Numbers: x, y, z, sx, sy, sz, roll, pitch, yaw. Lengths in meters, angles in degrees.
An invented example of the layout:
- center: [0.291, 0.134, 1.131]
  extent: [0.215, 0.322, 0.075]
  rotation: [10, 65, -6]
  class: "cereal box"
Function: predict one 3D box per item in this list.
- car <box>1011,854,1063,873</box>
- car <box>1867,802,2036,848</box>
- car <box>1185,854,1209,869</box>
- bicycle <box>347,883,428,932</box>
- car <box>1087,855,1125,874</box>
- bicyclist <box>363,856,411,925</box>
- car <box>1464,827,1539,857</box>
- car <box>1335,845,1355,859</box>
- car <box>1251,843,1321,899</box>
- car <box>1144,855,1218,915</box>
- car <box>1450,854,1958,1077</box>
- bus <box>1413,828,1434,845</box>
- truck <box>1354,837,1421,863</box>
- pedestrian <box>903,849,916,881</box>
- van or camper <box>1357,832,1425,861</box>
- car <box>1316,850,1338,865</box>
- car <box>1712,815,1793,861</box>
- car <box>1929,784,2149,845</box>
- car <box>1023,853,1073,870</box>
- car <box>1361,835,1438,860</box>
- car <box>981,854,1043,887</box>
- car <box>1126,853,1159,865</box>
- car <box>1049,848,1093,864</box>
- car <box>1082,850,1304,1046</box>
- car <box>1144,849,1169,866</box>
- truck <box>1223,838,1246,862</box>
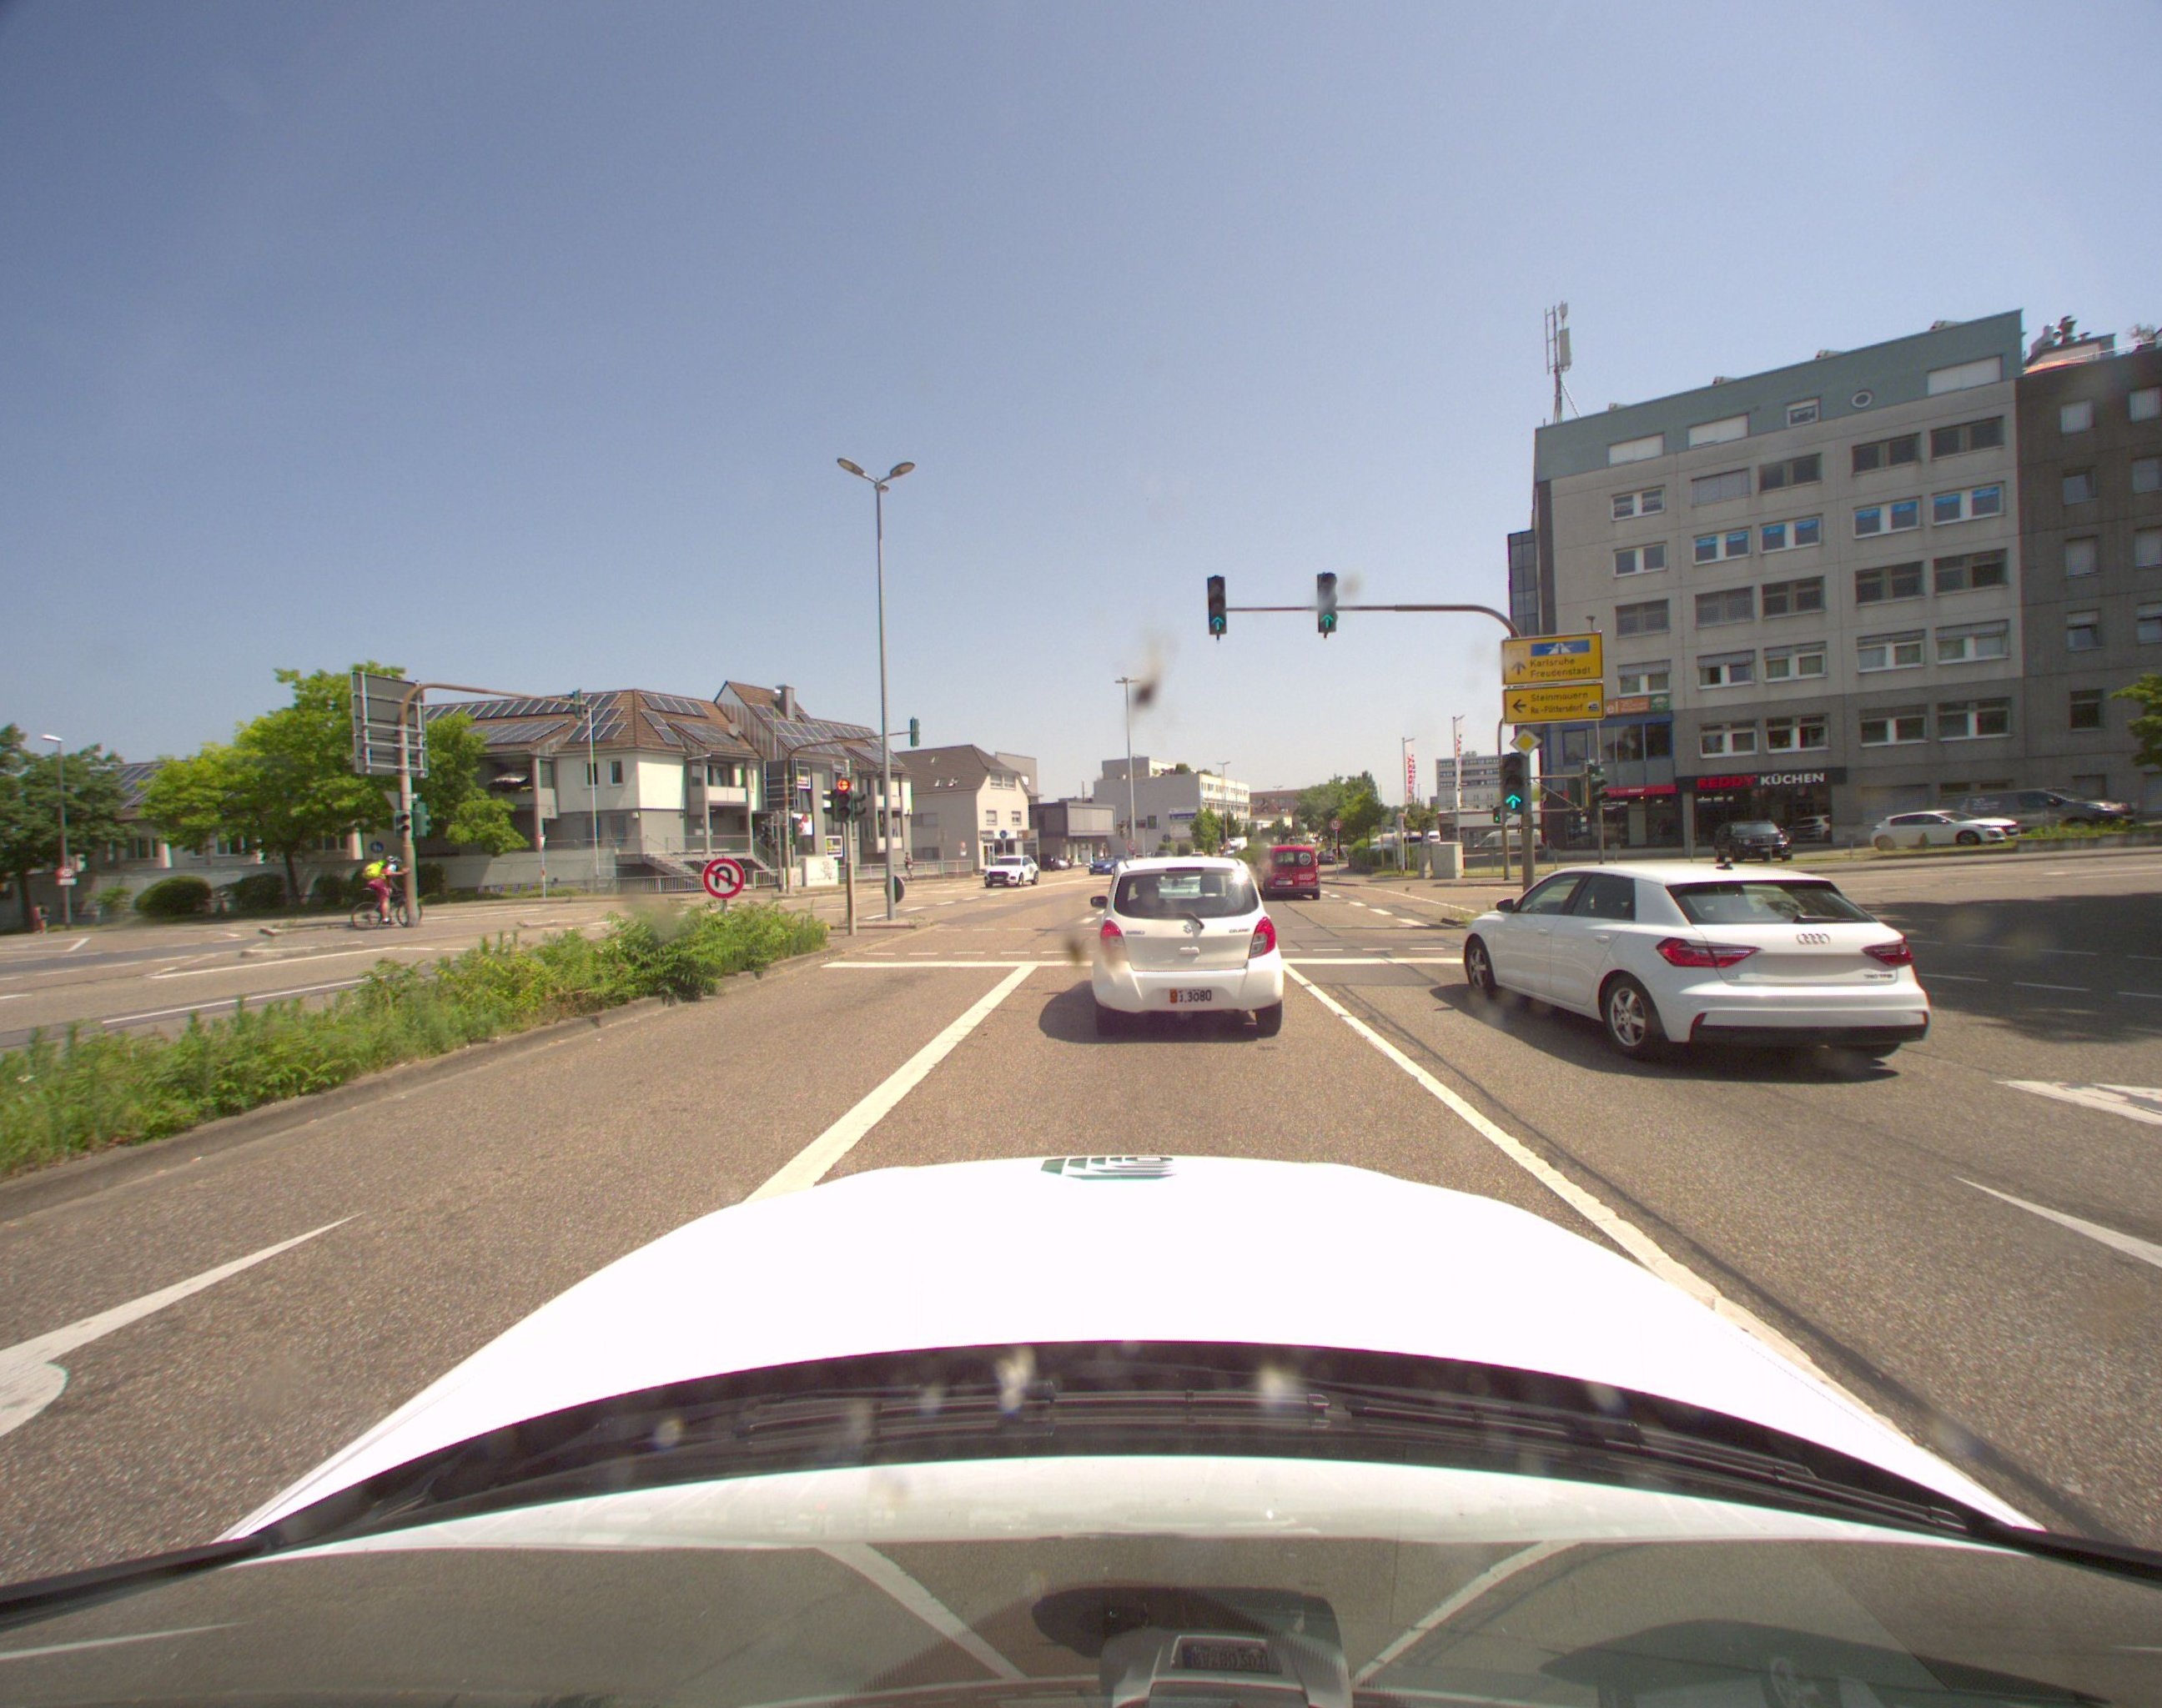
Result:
- center: [-4.190, 0.856, 77.492]
  extent: [4.565, 1.627, 1.864]
  rotation: [2, 1, 23]
  class: "car"
- center: [33.341, -1.058, 31.363]
  extent: [1.541, 1.533, 4.203]
  rotation: [0, -1, -15]
  class: "car"
- center: [11.433, 0.703, 80.044]
  extent: [1.849, 1.431, 4.763]
  rotation: [-1, 0, 14]
  class: "car"
- center: [-17.045, 1.285, 20.070]
  extent: [0.419, 1.054, 1.790]
  rotation: [0, 1, 2]
  class: "bicycle"
- center: [1.889, 0.783, 60.517]
  extent: [1.849, 1.366, 4.365]
  rotation: [-1, 0, 15]
  class: "car"
- center: [-17.041, 0.874, 20.007]
  extent: [0.419, 1.642, 0.821]
  rotation: [0, 0, 1]
  class: "bicyclist"
- center: [37.197, -1.033, 72.162]
  extent: [5.831, 2.528, 2.132]
  rotation: [-1, -1, 27]
  class: "car"
- center: [35.829, -0.293, 110.248]
  extent: [1.943, 1.530, 5.190]
  rotation: [-5, 0, 24]
  class: "car"
- center: [6.833, 0.537, 27.506]
  extent: [1.785, 1.729, 3.980]
  rotation: [-1, 0, 6]
  class: "car"
- center: [2.792, 0.783, 22.166]
  extent: [1.819, 1.450, 4.010]
  rotation: [-1, 0, 9]
  class: "car"
- center: [4.818, 0.718, 7.085]
  extent: [1.660, 1.399, 3.797]
  rotation: [-1, 0, 3]
  class: "car"
- center: [69.204, -3.631, 164.445]
  extent: [2.778, 3.078, 12.361]
  rotation: [-1, 2, 28]
  class: "bus"
- center: [31.812, -0.407, 84.600]
  extent: [6.188, 2.336, 2.382]
  rotation: [-3, 1, 25]
  class: "truck"
- center: [-10.839, 0.701, 51.483]
  extent: [0.499, 2.013, 0.744]
  rotation: [-1, 1, 8]
  class: "pedestrian"
- center: [33.779, -0.821, 88.725]
  extent: [6.736, 2.897, 2.288]
  rotation: [-3, 0, 23]
  class: "van or camper"
- center: [24.999, 0.337, 82.730]
  extent: [1.782, 1.406, 4.344]
  rotation: [0, 0, 22]
  class: "car"
- center: [26.914, -0.621, 32.769]
  extent: [1.524, 1.675, 4.355]
  rotation: [-2, 0, 26]
  class: "car"
- center: [36.168, -1.386, 31.005]
  extent: [1.888, 2.037, 5.165]
  rotation: [1, 0, -15]
  class: "car"
- center: [-3.301, 0.749, 80.921]
  extent: [4.571, 1.496, 1.760]
  rotation: [2, 1, 16]
  class: "car"
- center: [22.829, -0.460, 58.489]
  extent: [4.712, 1.713, 1.999]
  rotation: [0, -1, -2]
  class: "car"
- center: [-3.496, 0.803, 42.124]
  extent: [1.804, 1.570, 4.573]
  rotation: [-1, 0, 14]
  class: "car"
- center: [8.025, 0.677, 106.446]
  extent: [3.954, 1.459, 1.583]
  rotation: [-2, -1, 19]
  class: "car"
- center: [-1.043, 0.185, 83.394]
  extent: [4.022, 1.521, 2.010]
  rotation: [-2, -1, 21]
  class: "car"
- center: [0.972, 0.753, 8.000]
  extent: [1.705, 1.511, 3.250]
  rotation: [-1, -1, 3]
  class: "car"
- center: [8.187, 0.391, 87.709]
  extent: [1.979, 1.656, 4.611]
  rotation: [-2, 0, 14]
  class: "car"
- center: [22.502, -0.499, 119.061]
  extent: [2.246, 3.417, 7.073]
  rotation: [-1, -1, 19]
  class: "truck"
